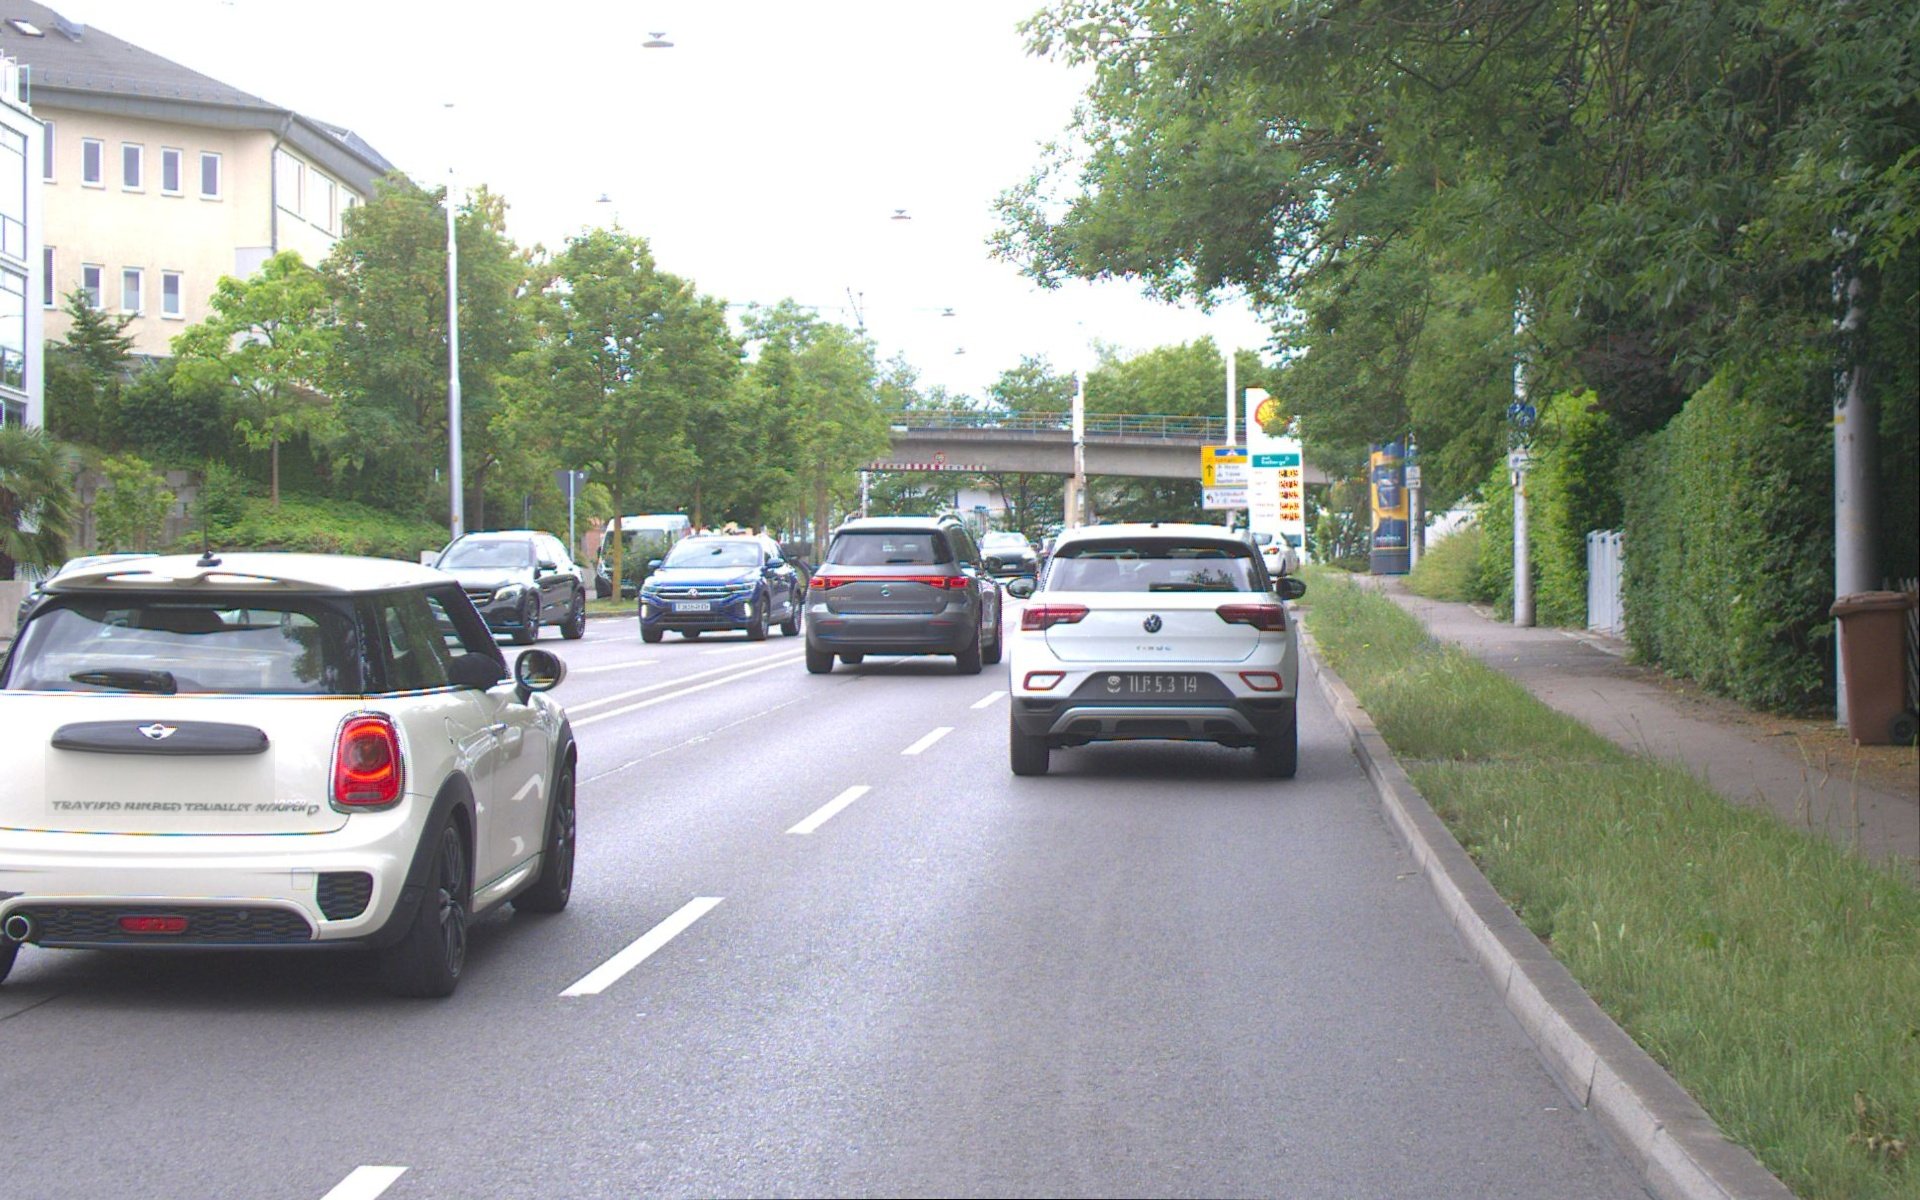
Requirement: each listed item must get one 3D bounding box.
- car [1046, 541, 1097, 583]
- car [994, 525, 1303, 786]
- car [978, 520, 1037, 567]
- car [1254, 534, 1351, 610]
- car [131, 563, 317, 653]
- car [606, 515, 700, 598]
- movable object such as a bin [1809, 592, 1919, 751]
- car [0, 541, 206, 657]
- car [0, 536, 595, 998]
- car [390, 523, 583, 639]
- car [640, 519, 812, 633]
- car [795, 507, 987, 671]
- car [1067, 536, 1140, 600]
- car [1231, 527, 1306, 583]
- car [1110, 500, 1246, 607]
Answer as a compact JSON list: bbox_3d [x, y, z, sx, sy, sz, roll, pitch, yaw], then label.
[{"bbox_3d":[4.145,-1.432,128.373,1.896,1.536,4.693,0,1,1],"label":"car"},{"bbox_3d":[1.262,0.300,22.210,1.812,1.534,3.689,-1,1,5],"label":"car"},{"bbox_3d":[1.610,-1.897,114.999,1.896,1.536,4.693,0,1,2],"label":"car"},{"bbox_3d":[7.344,-0.576,74.005,1.873,1.496,4.554,3,0,4],"label":"car"},{"bbox_3d":[-11.966,0.102,56.137,1.771,1.402,4.142,0,1,6],"label":"car"},{"bbox_3d":[-8.777,-1.257,98.728,2.069,2.298,5.465,0,1,2],"label":"car"},{"bbox_3d":[5.531,0.430,20.996,0.555,0.944,0.567,1,1,1],"label":"movable object such as a bin"},{"bbox_3d":[-12.554,-0.044,50.581,1.771,1.628,3.915,0,1,5],"label":"car"},{"bbox_3d":[-2.384,0.481,12.209,1.628,1.388,3.566,-1,1,3],"label":"car"},{"bbox_3d":[-6.915,-0.299,50.595,1.771,1.628,4.141,0,1,8],"label":"car"},{"bbox_3d":[-3.391,-0.373,50.783,1.771,1.591,5.183,0,1,5],"label":"car"},{"bbox_3d":[-0.812,-0.151,37.243,1.812,1.646,4.637,-1,1,-4],"label":"car"},{"bbox_3d":[3.794,-0.863,91.468,1.858,1.646,4.636,-1,1,1],"label":"car"},{"bbox_3d":[8.581,-1.262,95.961,1.858,1.495,4.055,-1,1,2],"label":"car"},{"bbox_3d":[3.345,-0.687,53.473,1.873,1.496,4.555,3,0,1],"label":"car"}]
